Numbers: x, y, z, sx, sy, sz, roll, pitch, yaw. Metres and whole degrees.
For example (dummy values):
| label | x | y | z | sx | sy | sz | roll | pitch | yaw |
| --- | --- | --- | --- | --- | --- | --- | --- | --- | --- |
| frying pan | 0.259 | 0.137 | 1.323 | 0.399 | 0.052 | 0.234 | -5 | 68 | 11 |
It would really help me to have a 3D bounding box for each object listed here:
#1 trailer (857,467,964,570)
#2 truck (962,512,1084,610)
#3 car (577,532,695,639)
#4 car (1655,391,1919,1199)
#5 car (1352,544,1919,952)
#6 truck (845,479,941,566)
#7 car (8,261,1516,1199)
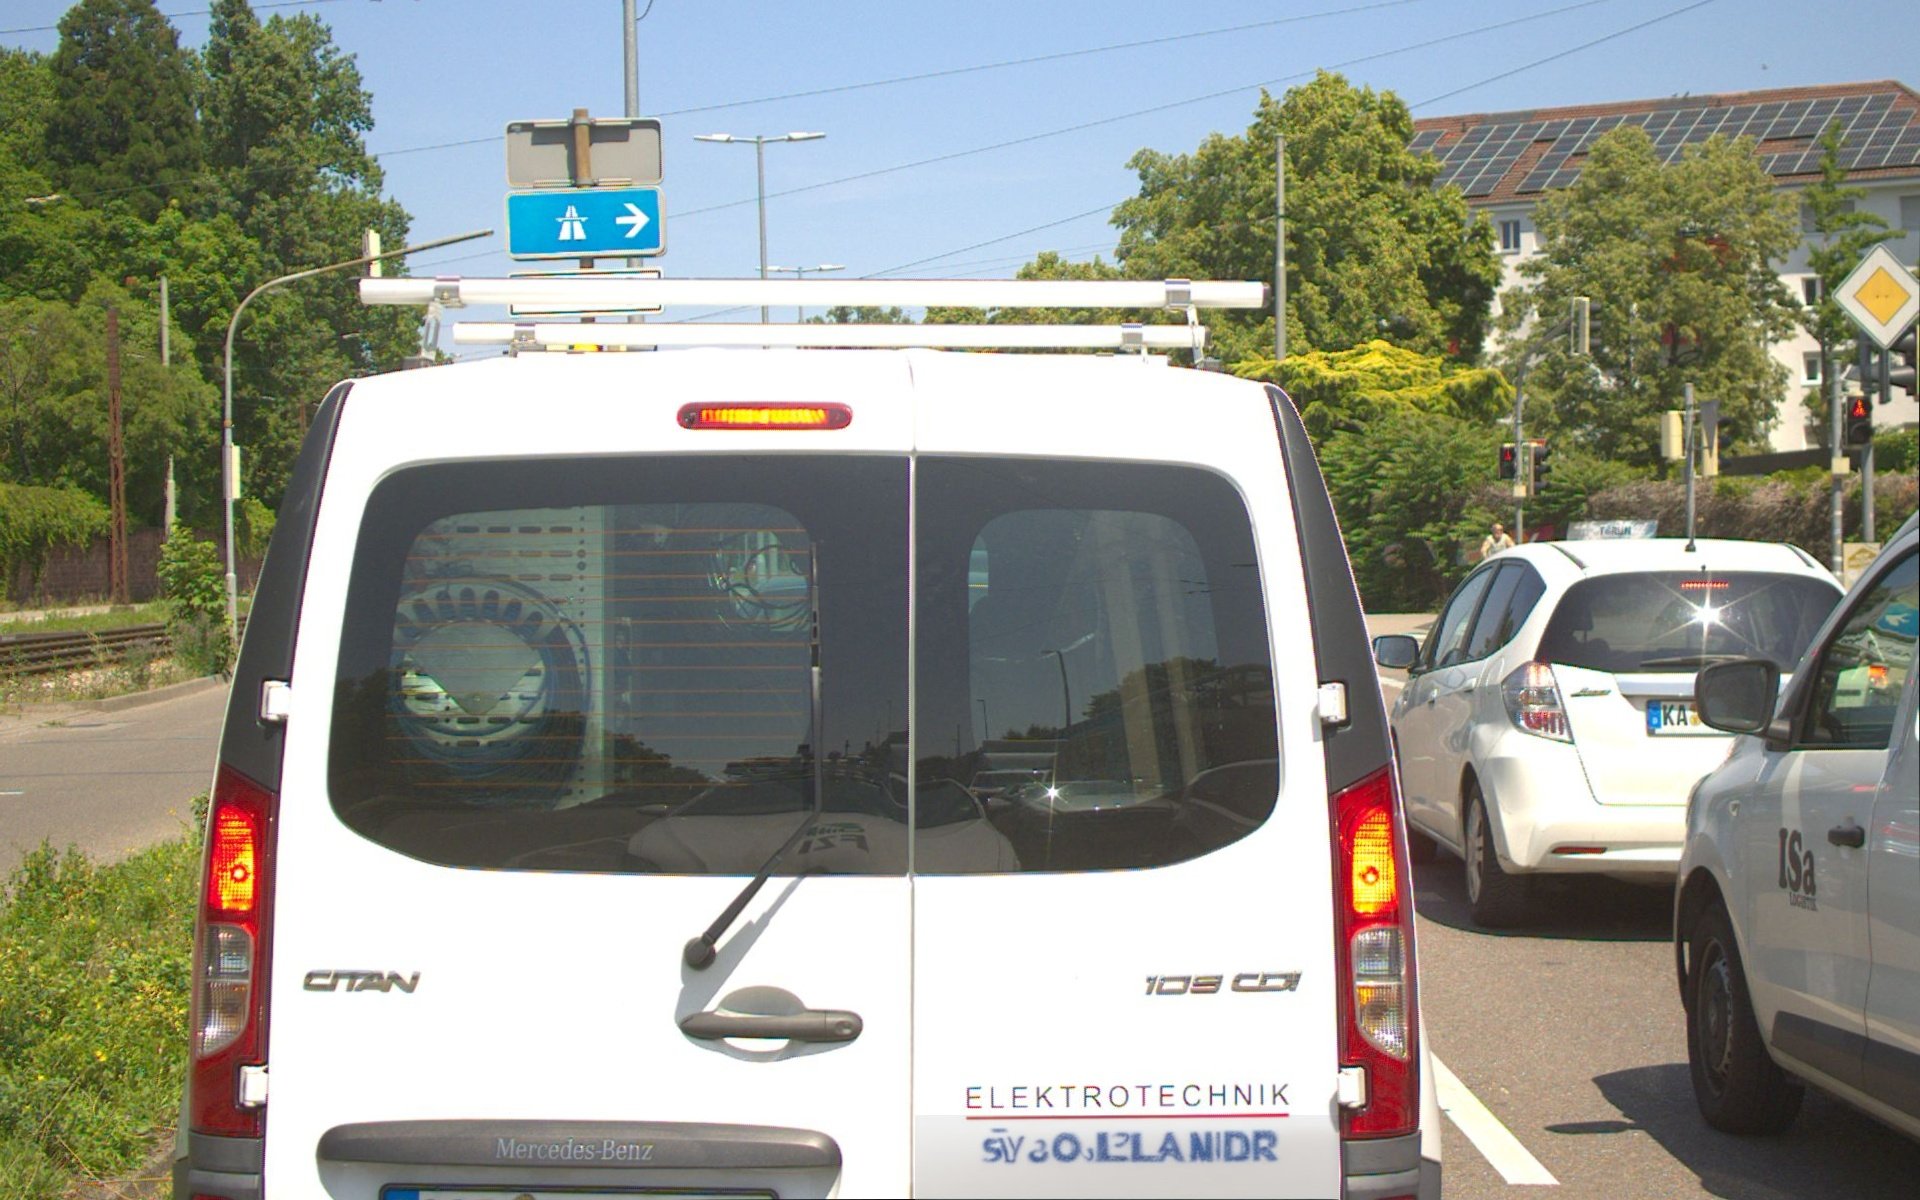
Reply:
| label | x | y | z | sx | sy | sz | roll | pitch | yaw |
| --- | --- | --- | --- | --- | --- | --- | --- | --- | --- |
| trailer | -2.071 | -3.295 | 140.012 | 3.527 | 4.037 | 8.979 | -1 | 1 | -6 |
| truck | 1.421 | -0.861 | 73.953 | 2.299 | 2.007 | 6.727 | 0 | 1 | 4 |
| car | -6.260 | -0.310 | 66.736 | 1.993 | 2.007 | 4.000 | -1 | 1 | -1 |
| car | 2.758 | 0.493 | 7.213 | 1.710 | 1.824 | 4.014 | 0 | 1 | -1 |
| car | 2.806 | 0.516 | 14.676 | 1.756 | 1.481 | 4.000 | 1 | 1 | -1 |
| truck | -2.977 | -3.324 | 148.855 | 3.575 | 3.620 | 8.810 | -1 | 1 | -5 |
| car | -0.292 | 0.472 | 6.218 | 1.866 | 1.829 | 3.849 | 1 | 1 | -1 |
